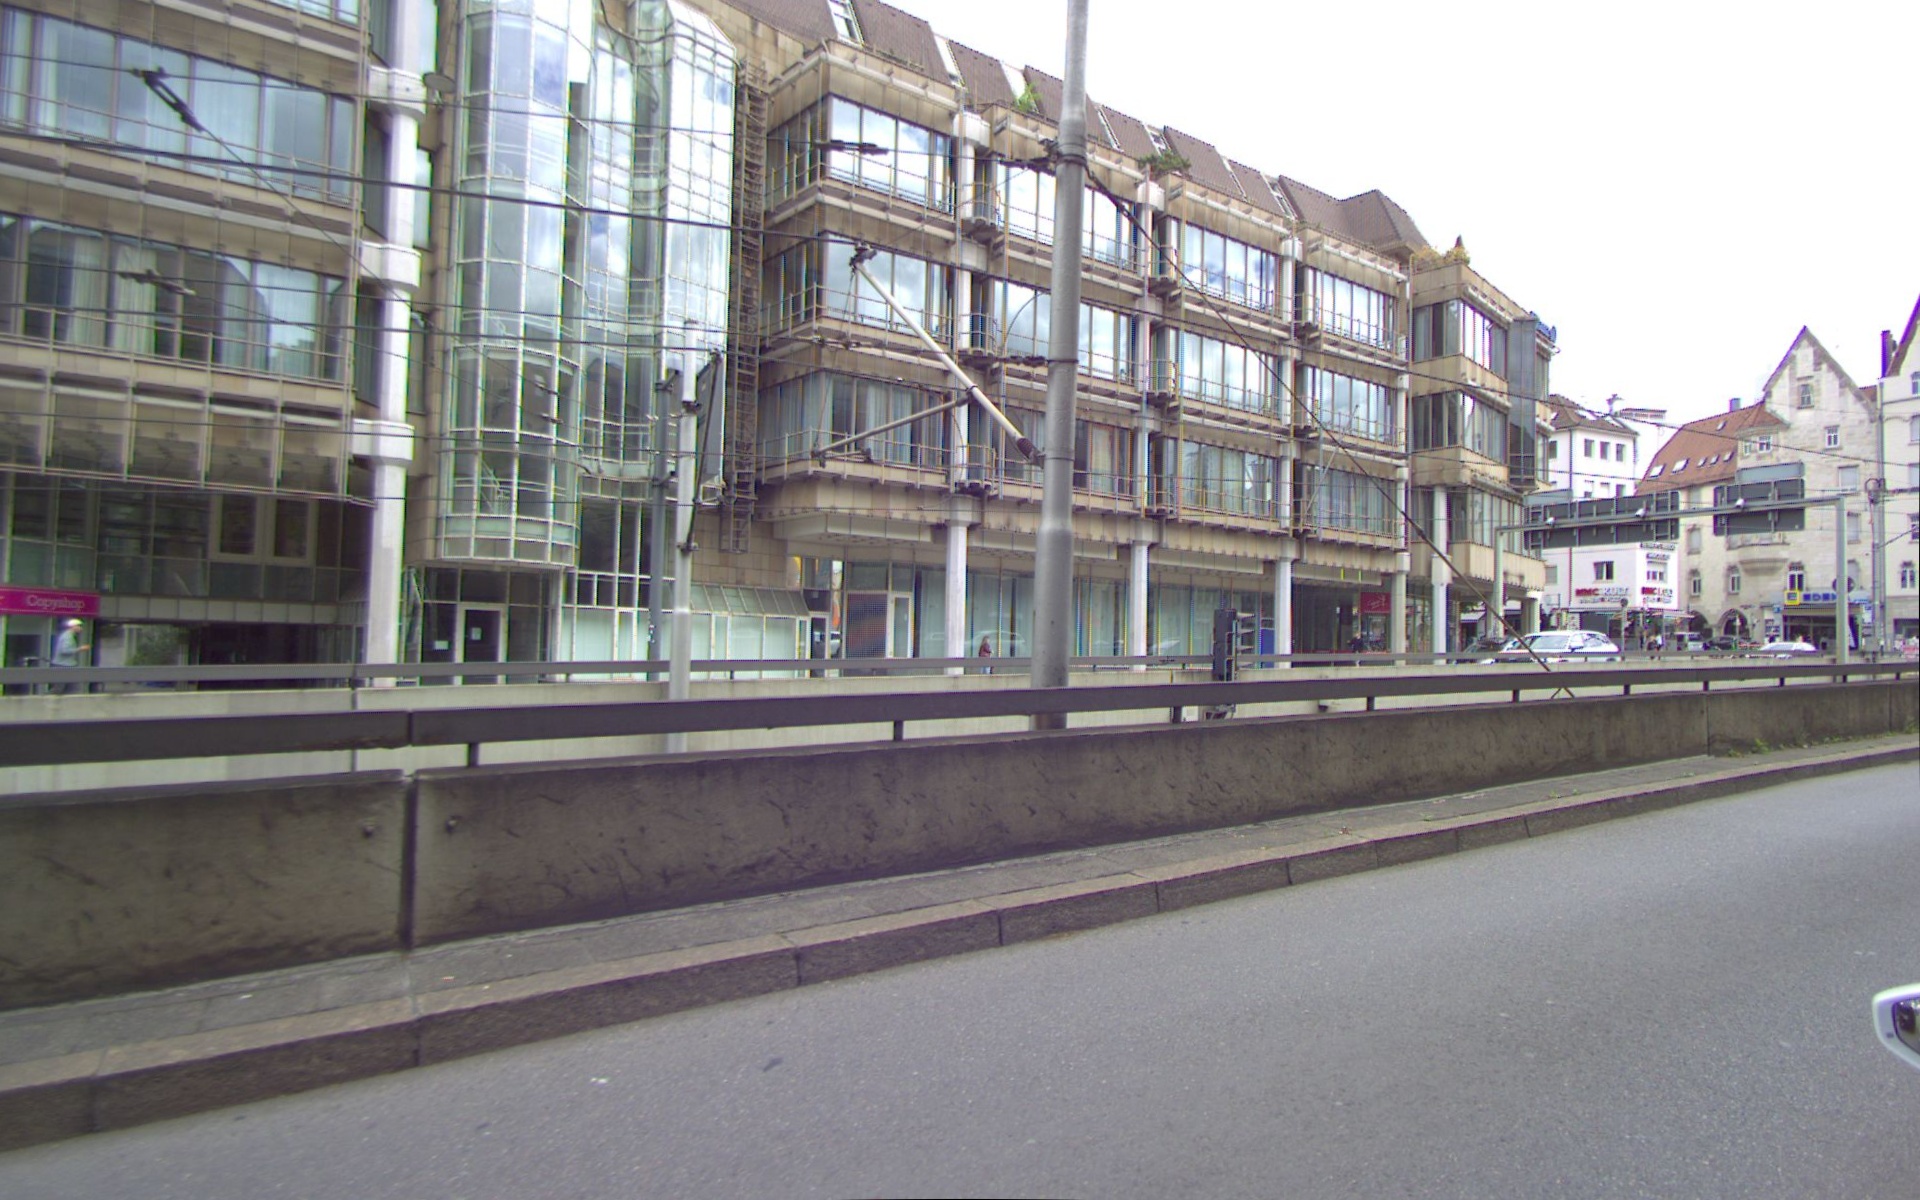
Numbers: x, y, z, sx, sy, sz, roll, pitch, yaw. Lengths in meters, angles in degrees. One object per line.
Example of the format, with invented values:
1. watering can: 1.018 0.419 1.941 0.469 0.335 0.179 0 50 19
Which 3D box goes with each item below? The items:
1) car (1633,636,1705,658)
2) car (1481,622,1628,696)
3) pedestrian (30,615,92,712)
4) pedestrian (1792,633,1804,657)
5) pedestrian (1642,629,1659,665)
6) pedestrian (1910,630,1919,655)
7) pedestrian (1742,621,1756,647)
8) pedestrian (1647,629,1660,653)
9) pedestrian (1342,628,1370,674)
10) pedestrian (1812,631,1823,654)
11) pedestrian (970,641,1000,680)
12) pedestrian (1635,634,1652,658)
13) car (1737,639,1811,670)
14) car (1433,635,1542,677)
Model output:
1. car: 55.177 3.639 78.246 1.726 1.581 4.498 1 -1 -16
2. car: 16.946 1.634 28.563 4.559 1.867 1.821 2 1 -35
3. pedestrian: -17.414 1.211 19.475 0.731 1.816 0.727 2 -1 -31
4. pedestrian: 64.961 3.477 77.887 0.565 1.803 0.512 0 -1 15
5. pedestrian: 34.837 2.354 50.682 0.569 1.803 0.508 1 -1 -24
6. pedestrian: 67.690 2.996 70.860 0.643 1.728 0.781 1 -1 -20
7. pedestrian: 54.976 2.398 70.001 0.501 1.803 0.577 0 -1 1
8. pedestrian: 51.256 3.034 74.228 0.588 1.803 0.510 1 -1 -14
9. pedestrian: 16.019 2.066 40.639 0.731 1.835 0.727 2 -1 -31
10. pedestrian: 67.367 3.327 78.866 0.507 1.803 0.570 2 -2 -39
11. pedestrian: 0.868 2.059 34.456 0.731 1.282 0.727 2 -1 -31
12. pedestrian: 48.991 3.282 72.010 0.643 1.728 0.781 1 -1 -20
13. car: 41.809 2.797 51.571 3.996 1.521 1.656 1 -2 -31
14. car: 20.063 2.087 38.151 4.362 1.521 1.656 1 -2 -31
